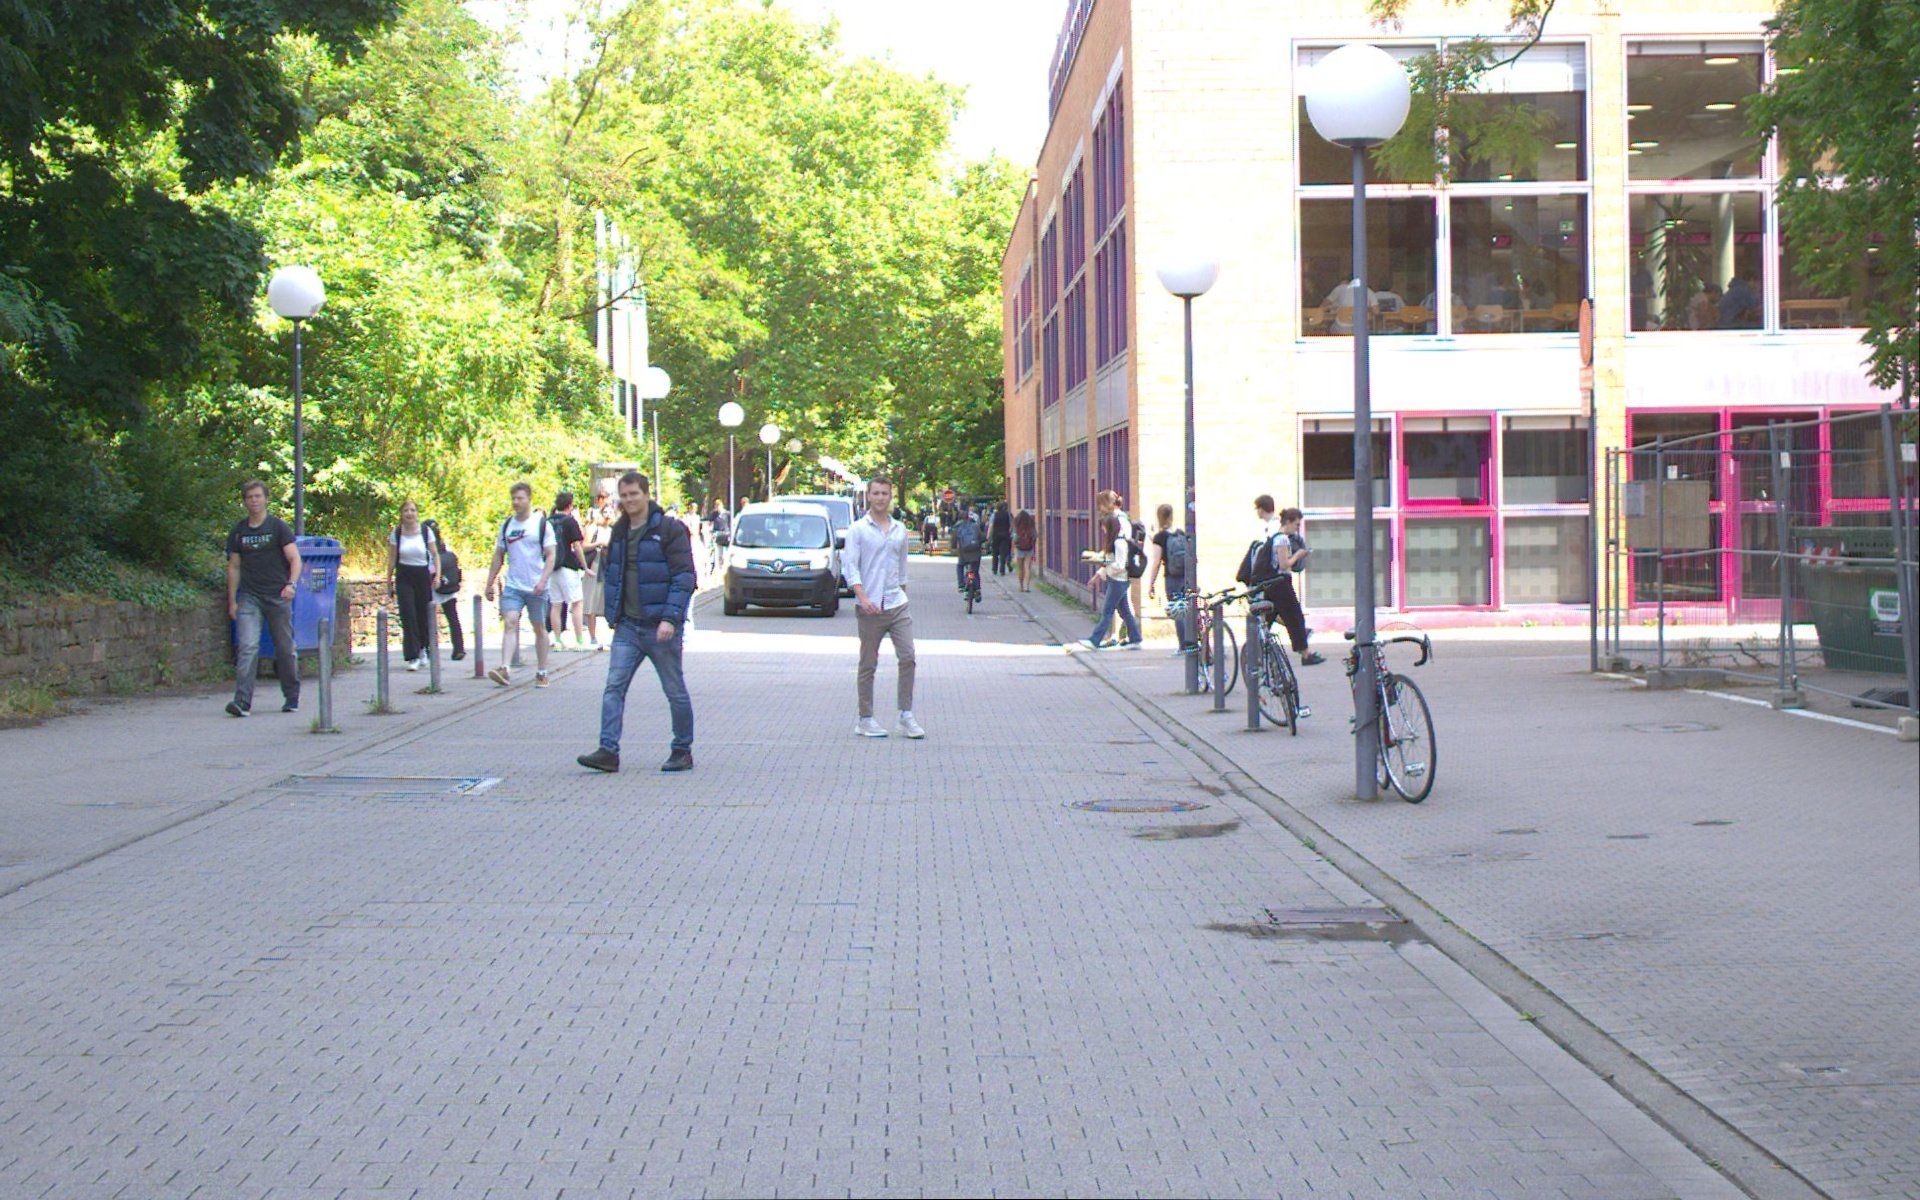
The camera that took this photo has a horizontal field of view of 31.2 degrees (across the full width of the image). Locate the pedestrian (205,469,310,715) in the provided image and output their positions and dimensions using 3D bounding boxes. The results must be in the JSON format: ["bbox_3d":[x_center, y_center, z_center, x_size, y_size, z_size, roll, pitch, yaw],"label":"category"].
[{"bbox_3d":[-5.452,-0.067,26.727,0.682,1.866,1.121,0,1,-5],"label":"pedestrian"}]

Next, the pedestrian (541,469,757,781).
[{"bbox_3d":[-1.901,0.133,21.082,0.887,1.851,1.031,1,2,28],"label":"pedestrian"}]

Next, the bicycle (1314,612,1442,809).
[{"bbox_3d":[2.223,0.566,18.407,0.395,0.932,1.732,-2,2,-1],"label":"bicycle"}]

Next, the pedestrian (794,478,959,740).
[{"bbox_3d":[-0.609,0.048,24.759,0.783,1.839,1.118,0,2,-25],"label":"pedestrian"}]

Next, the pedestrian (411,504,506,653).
[{"bbox_3d":[-5.479,-0.240,37.529,0.917,1.605,0.569,1,1,42],"label":"pedestrian"}]

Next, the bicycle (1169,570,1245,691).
[{"bbox_3d":[2.126,0.250,29.717,0.450,0.958,1.740,-3,2,-1],"label":"bicycle"}]

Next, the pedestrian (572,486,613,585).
[{"bbox_3d":[-6.839,-1.194,63.926,0.682,1.838,0.783,0,1,-1],"label":"pedestrian"}]

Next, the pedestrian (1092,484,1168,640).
[{"bbox_3d":[2.015,-0.451,40.751,0.825,1.838,0.685,0,1,-3],"label":"pedestrian"}]

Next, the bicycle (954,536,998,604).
[{"bbox_3d":[0.258,-0.505,56.635,0.587,1.080,1.908,0,2,-4],"label":"bicycle"}]

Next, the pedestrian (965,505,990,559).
[{"bbox_3d":[0.554,-2.126,107.739,0.725,1.667,0.748,-2,0,1],"label":"pedestrian"}]

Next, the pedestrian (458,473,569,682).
[{"bbox_3d":[-4.080,-0.211,31.498,0.724,1.875,1.082,0,1,9],"label":"pedestrian"}]

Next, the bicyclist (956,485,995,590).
[{"bbox_3d":[0.252,-1.034,56.644,0.587,1.710,0.665,0,1,-4],"label":"bicyclist"}]

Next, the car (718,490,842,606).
[{"bbox_3d":[-2.851,-0.871,55.198,1.790,1.755,4.482,-1,2,-1],"label":"car"}]

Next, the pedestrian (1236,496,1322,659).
[{"bbox_3d":[3.251,-0.231,35.023,0.852,1.645,0.588,0,1,7],"label":"pedestrian"}]

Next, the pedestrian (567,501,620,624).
[{"bbox_3d":[-4.865,-0.502,45.701,0.682,1.615,0.914,0,1,-5],"label":"pedestrian"}]

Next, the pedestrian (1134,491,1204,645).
[{"bbox_3d":[2.306,-0.352,37.890,0.697,1.667,0.588,-2,0,7],"label":"pedestrian"}]

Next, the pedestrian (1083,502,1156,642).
[{"bbox_3d":[1.852,-0.326,40.016,0.780,1.615,0.685,0,1,-3],"label":"pedestrian"}]

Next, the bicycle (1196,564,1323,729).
[{"bbox_3d":[2.092,0.308,24.197,0.708,1.089,1.749,0,2,-1],"label":"bicycle"}]

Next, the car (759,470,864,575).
[{"bbox_3d":[-2.872,-1.540,67.385,1.883,1.967,5.215,0,2,-1],"label":"car"}]

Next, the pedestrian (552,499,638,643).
[{"bbox_3d":[-4.258,-0.345,40.138,0.886,1.667,0.559,0,1,7],"label":"pedestrian"}]

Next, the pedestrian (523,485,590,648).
[{"bbox_3d":[-4.609,-0.388,39.289,0.682,1.838,0.783,0,1,-1],"label":"pedestrian"}]

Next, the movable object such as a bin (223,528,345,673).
[{"bbox_3d":[-6.450,-0.008,32.847,0.709,1.332,1.239,2,2,9],"label":"movable object such as a bin"}]

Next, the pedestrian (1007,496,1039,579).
[{"bbox_3d":[1.287,-1.273,70.334,0.586,1.667,0.699,-2,0,1],"label":"pedestrian"}]

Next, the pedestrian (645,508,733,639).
[{"bbox_3d":[-3.220,-0.317,40.934,0.886,1.537,0.742,1,1,9],"label":"pedestrian"}]

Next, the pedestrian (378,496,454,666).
[{"bbox_3d":[-5.574,-0.203,35.267,0.682,1.722,1.002,0,1,-4],"label":"pedestrian"}]

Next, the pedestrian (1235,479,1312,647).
[{"bbox_3d":[3.400,-0.398,37.302,0.767,1.788,0.588,-2,0,7],"label":"pedestrian"}]

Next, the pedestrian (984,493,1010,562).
[{"bbox_3d":[0.900,-1.766,84.432,0.586,1.667,0.817,-2,0,1],"label":"pedestrian"}]

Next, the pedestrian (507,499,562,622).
[{"bbox_3d":[-5.627,-0.521,45.504,0.682,1.615,0.979,0,1,-5],"label":"pedestrian"}]
